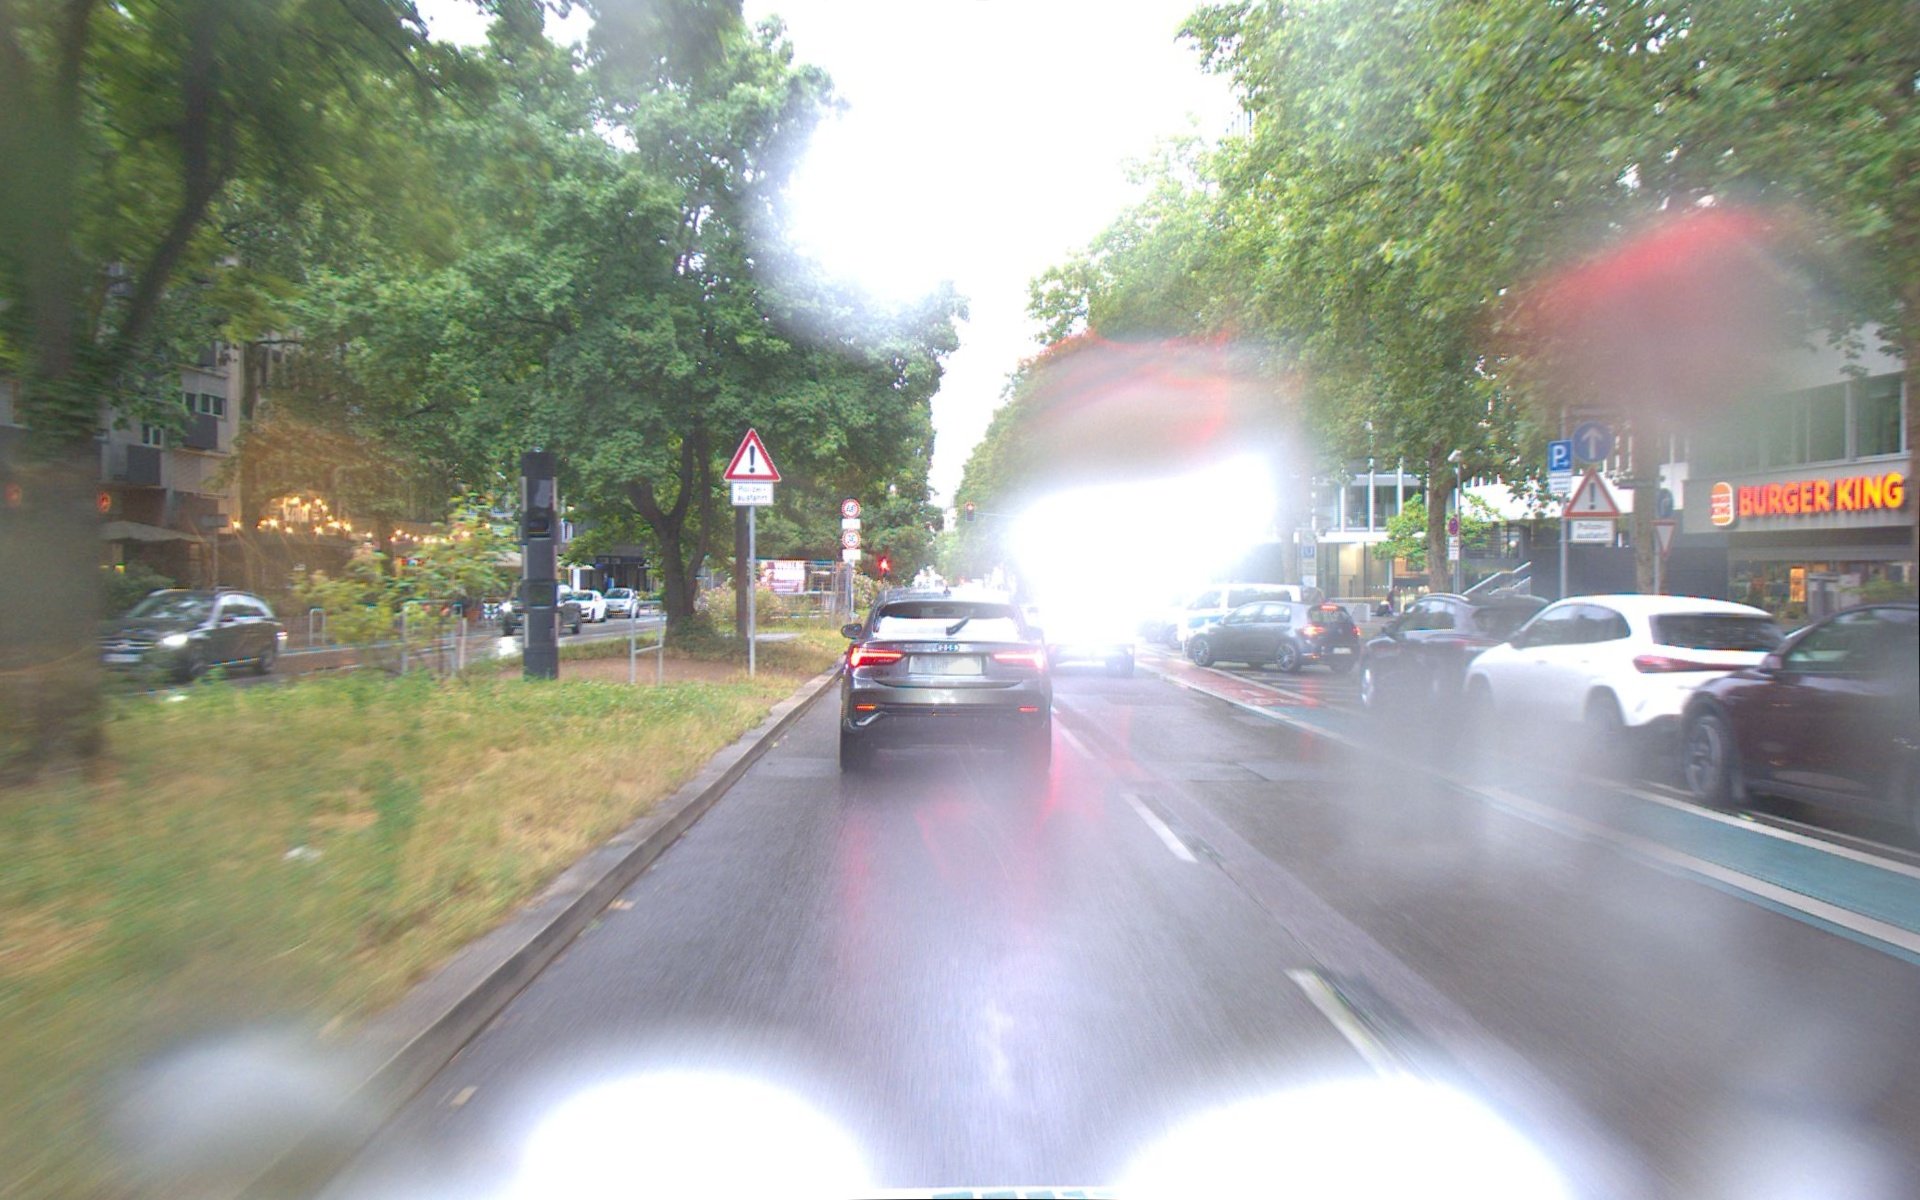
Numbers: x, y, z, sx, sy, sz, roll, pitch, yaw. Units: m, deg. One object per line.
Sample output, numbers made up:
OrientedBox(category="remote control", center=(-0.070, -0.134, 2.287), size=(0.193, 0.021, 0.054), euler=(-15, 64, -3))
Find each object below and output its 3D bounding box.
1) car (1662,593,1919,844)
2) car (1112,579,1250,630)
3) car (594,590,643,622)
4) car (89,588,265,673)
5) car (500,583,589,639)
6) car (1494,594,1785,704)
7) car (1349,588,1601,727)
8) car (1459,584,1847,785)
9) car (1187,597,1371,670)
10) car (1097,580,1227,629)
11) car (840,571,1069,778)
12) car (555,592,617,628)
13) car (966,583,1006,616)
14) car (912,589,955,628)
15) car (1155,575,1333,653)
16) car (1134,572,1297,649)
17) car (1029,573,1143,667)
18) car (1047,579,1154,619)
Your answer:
OrientedBox(category="car", center=(6.783, 0.758, 11.235), size=(1.830, 1.547, 4.555), euler=(2, 0, -4))
OrientedBox(category="car", center=(8.044, 0.153, 60.183), size=(4.548, 1.736, 1.998), euler=(1, 0, 26))
OrientedBox(category="car", center=(-17.494, 0.318, 84.960), size=(1.691, 1.545, 3.999), euler=(2, 0, -1))
OrientedBox(category="car", center=(-12.926, 0.484, 27.531), size=(1.658, 1.280, 3.637), euler=(2, 0, -9))
OrientedBox(category="car", center=(-13.572, 0.356, 54.270), size=(1.724, 1.733, 4.333), euler=(2, 0, 1))
OrientedBox(category="car", center=(10.978, 0.768, 27.040), size=(4.155, 1.594, 2.056), euler=(2, 0, 16))
OrientedBox(category="car", center=(6.360, 0.669, 20.901), size=(1.662, 1.550, 4.020), euler=(2, 0, -4))
OrientedBox(category="car", center=(6.454, 0.701, 15.949), size=(1.694, 1.599, 4.069), euler=(2, 1, -6))
OrientedBox(category="car", center=(6.618, 0.681, 34.623), size=(1.544, 1.402, 3.825), euler=(2, 0, -33))
OrientedBox(category="car", center=(7.779, 0.164, 63.648), size=(4.548, 1.736, 1.998), euler=(1, 0, 26))
OrientedBox(category="car", center=(-0.123, 0.588, 15.194), size=(1.812, 1.630, 3.998), euler=(1, 0, -2))
OrientedBox(category="car", center=(-16.886, 0.436, 74.895), size=(1.690, 1.545, 4.001), euler=(2, 0, 3))
OrientedBox(category="car", center=(1.354, -0.029, 88.016), size=(1.953, 1.680, 3.999), euler=(2, 0, -1))
OrientedBox(category="car", center=(-1.292, 0.409, 79.618), size=(1.953, 1.757, 3.998), euler=(2, 0, -2))
OrientedBox(category="car", center=(7.955, 0.382, 46.522), size=(4.517, 2.049, 1.960), euler=(1, -1, 37))
OrientedBox(category="car", center=(8.242, 0.325, 53.388), size=(4.787, 2.293, 1.997), euler=(1, 0, 27))
OrientedBox(category="car", center=(2.450, 0.385, 33.066), size=(1.840, 1.727, 3.999), euler=(2, 0, -1))
OrientedBox(category="car", center=(6.591, -0.034, 77.657), size=(4.548, 1.736, 1.998), euler=(1, 0, 26))
